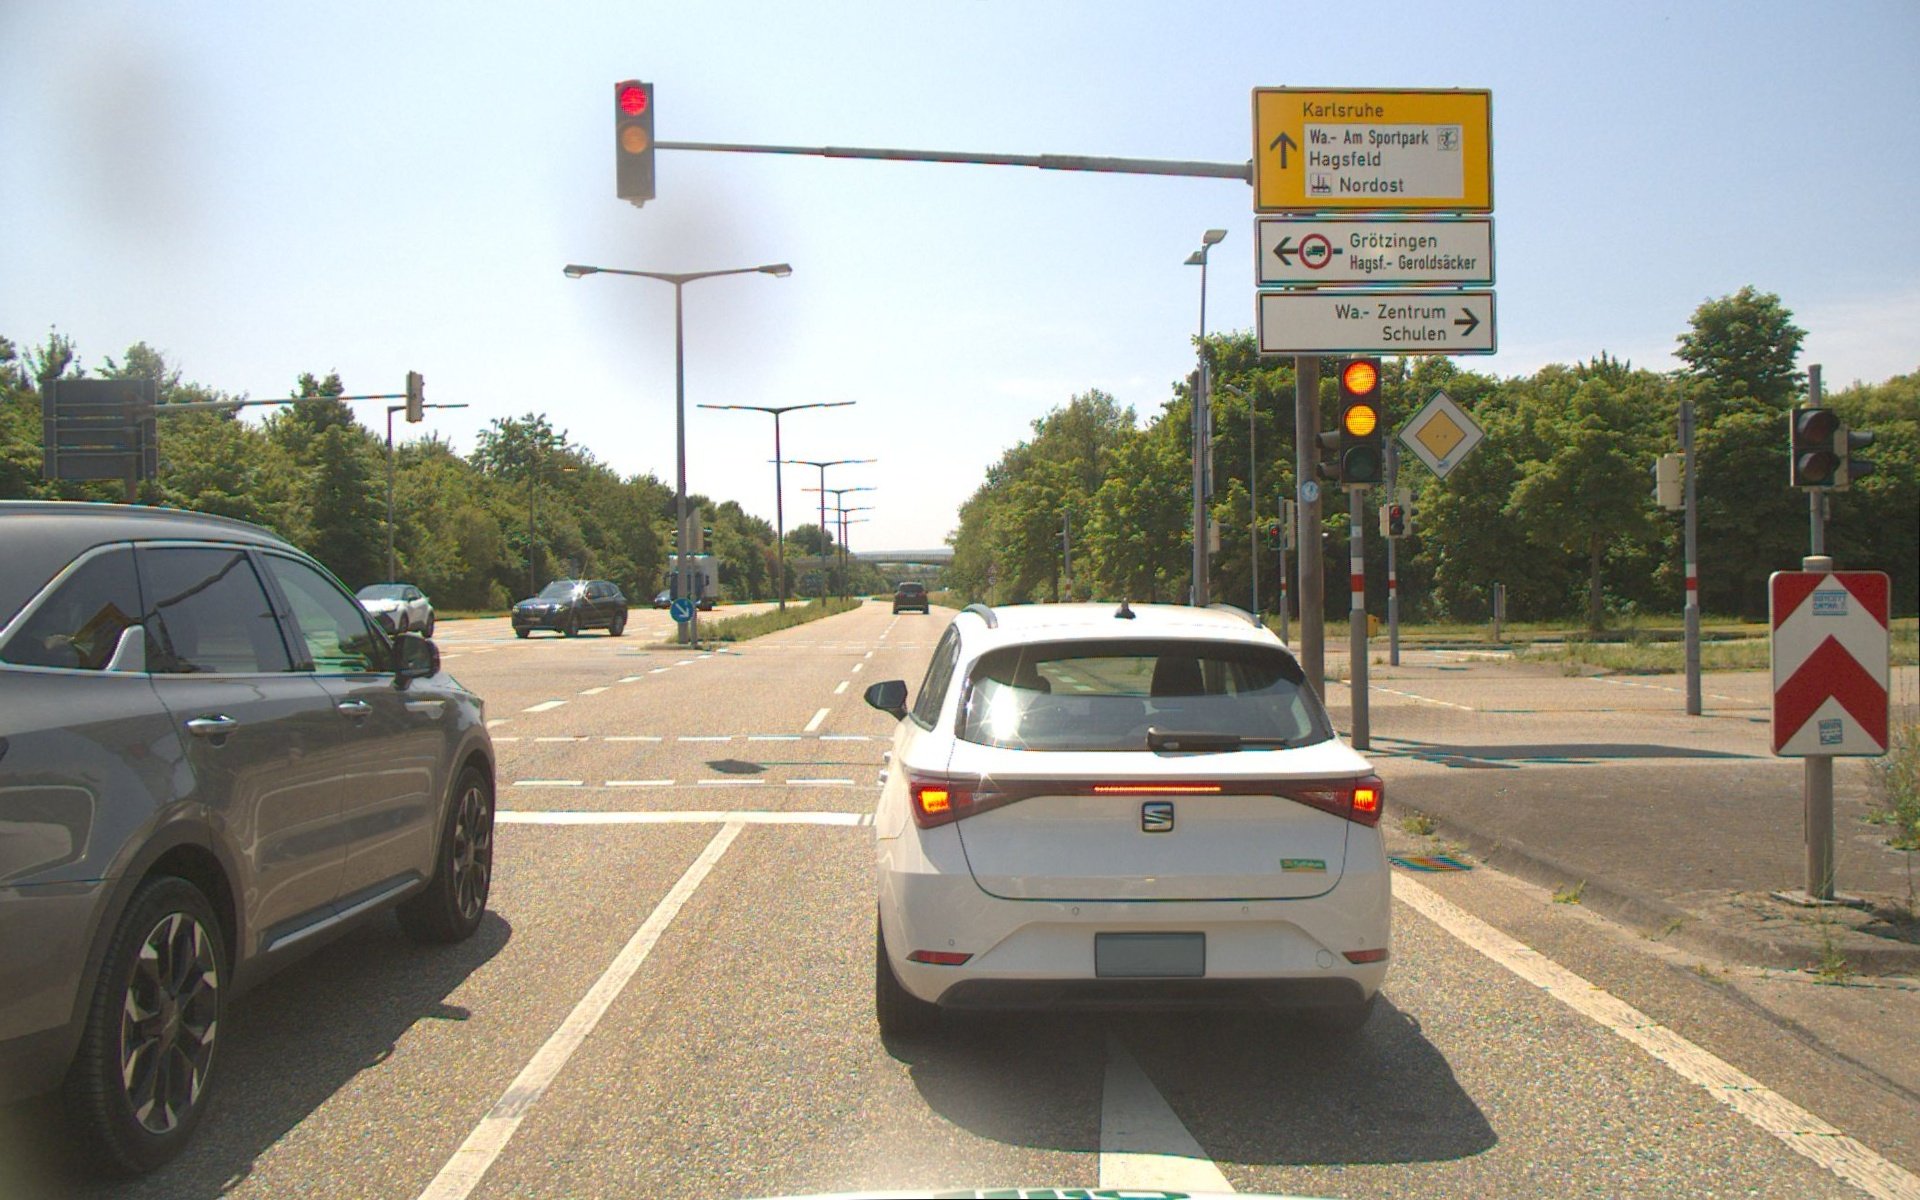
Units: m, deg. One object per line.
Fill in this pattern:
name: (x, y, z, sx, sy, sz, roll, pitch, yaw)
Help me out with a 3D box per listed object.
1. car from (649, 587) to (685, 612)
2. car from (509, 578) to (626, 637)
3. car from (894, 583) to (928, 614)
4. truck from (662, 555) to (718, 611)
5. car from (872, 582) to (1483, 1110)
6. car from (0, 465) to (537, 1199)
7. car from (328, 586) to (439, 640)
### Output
car: (-21.505, -0.031, 121.529, 1.785, 1.762, 4.925, -1, 1, -1)
car: (-11.803, 0.193, 50.014, 1.670, 1.692, 4.226, -1, 1, 14)
car: (-2.837, -0.096, 96.730, 1.817, 1.738, 4.000, -1, 1, 0)
truck: (-17.897, -1.126, 110.013, 2.633, 3.633, 7.266, 0, 1, -1)
car: (0.587, 0.699, 6.482, 1.699, 1.453, 3.693, 1, 0, -1)
car: (-2.857, 0.572, 5.474, 1.767, 1.691, 4.643, -1, 0, -1)
car: (-16.561, 0.340, 47.719, 1.785, 1.481, 4.168, -1, 1, -1)
